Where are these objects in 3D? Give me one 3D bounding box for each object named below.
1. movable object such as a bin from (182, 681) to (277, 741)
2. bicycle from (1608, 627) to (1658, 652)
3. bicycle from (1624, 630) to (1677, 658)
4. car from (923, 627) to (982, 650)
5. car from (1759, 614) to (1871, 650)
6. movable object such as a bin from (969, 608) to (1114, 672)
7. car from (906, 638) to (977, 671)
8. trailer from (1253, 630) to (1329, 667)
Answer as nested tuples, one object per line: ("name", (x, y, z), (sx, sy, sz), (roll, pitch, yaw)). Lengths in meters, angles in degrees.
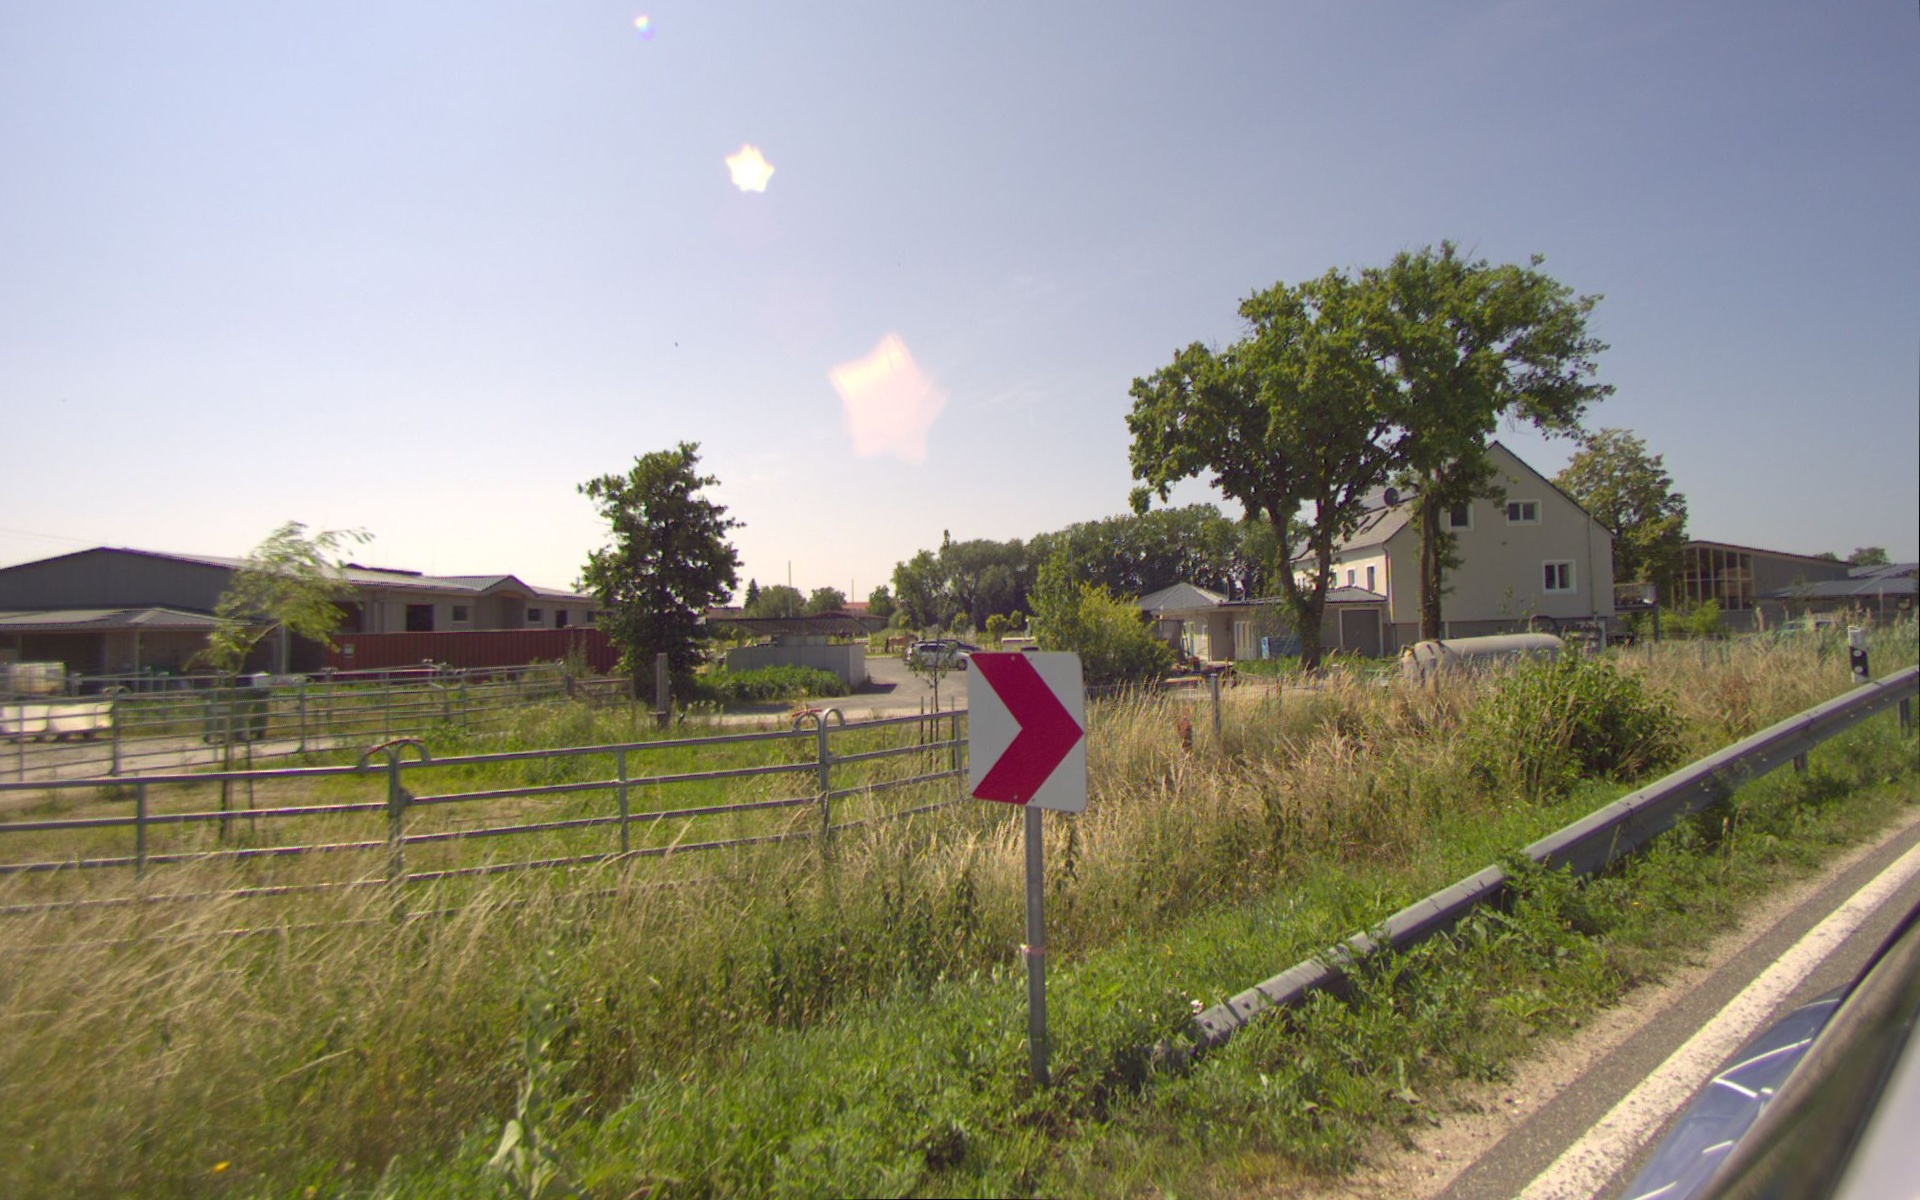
("movable object such as a bin", (-18.626, 2.811, 25.849), (1.486, 1.367, 1.374), (-2, -2, -5))
("bicycle", (33.824, 1.997, 50.876), (1.935, 1.207, 0.713), (-2, -3, 5))
("bicycle", (34.018, 2.175, 49.907), (1.935, 1.207, 0.713), (-5, -4, 5))
("car", (-0.546, 2.870, 75.924), (4.375, 1.595, 1.999), (-2, -2, 1))
("car", (42.427, 1.636, 50.395), (1.899, 1.601, 4.367), (-4, -3, 4))
("movable object such as a bin", (3.868, 1.927, 48.955), (6.371, 2.806, 3.015), (-1, -3, -9))
("car", (-0.997, 2.990, 55.809), (3.804, 1.595, 1.999), (-2, -1, 1))
("trailer", (15.623, 2.270, 47.854), (3.091, 1.516, 1.710), (-4, -2, 11))
